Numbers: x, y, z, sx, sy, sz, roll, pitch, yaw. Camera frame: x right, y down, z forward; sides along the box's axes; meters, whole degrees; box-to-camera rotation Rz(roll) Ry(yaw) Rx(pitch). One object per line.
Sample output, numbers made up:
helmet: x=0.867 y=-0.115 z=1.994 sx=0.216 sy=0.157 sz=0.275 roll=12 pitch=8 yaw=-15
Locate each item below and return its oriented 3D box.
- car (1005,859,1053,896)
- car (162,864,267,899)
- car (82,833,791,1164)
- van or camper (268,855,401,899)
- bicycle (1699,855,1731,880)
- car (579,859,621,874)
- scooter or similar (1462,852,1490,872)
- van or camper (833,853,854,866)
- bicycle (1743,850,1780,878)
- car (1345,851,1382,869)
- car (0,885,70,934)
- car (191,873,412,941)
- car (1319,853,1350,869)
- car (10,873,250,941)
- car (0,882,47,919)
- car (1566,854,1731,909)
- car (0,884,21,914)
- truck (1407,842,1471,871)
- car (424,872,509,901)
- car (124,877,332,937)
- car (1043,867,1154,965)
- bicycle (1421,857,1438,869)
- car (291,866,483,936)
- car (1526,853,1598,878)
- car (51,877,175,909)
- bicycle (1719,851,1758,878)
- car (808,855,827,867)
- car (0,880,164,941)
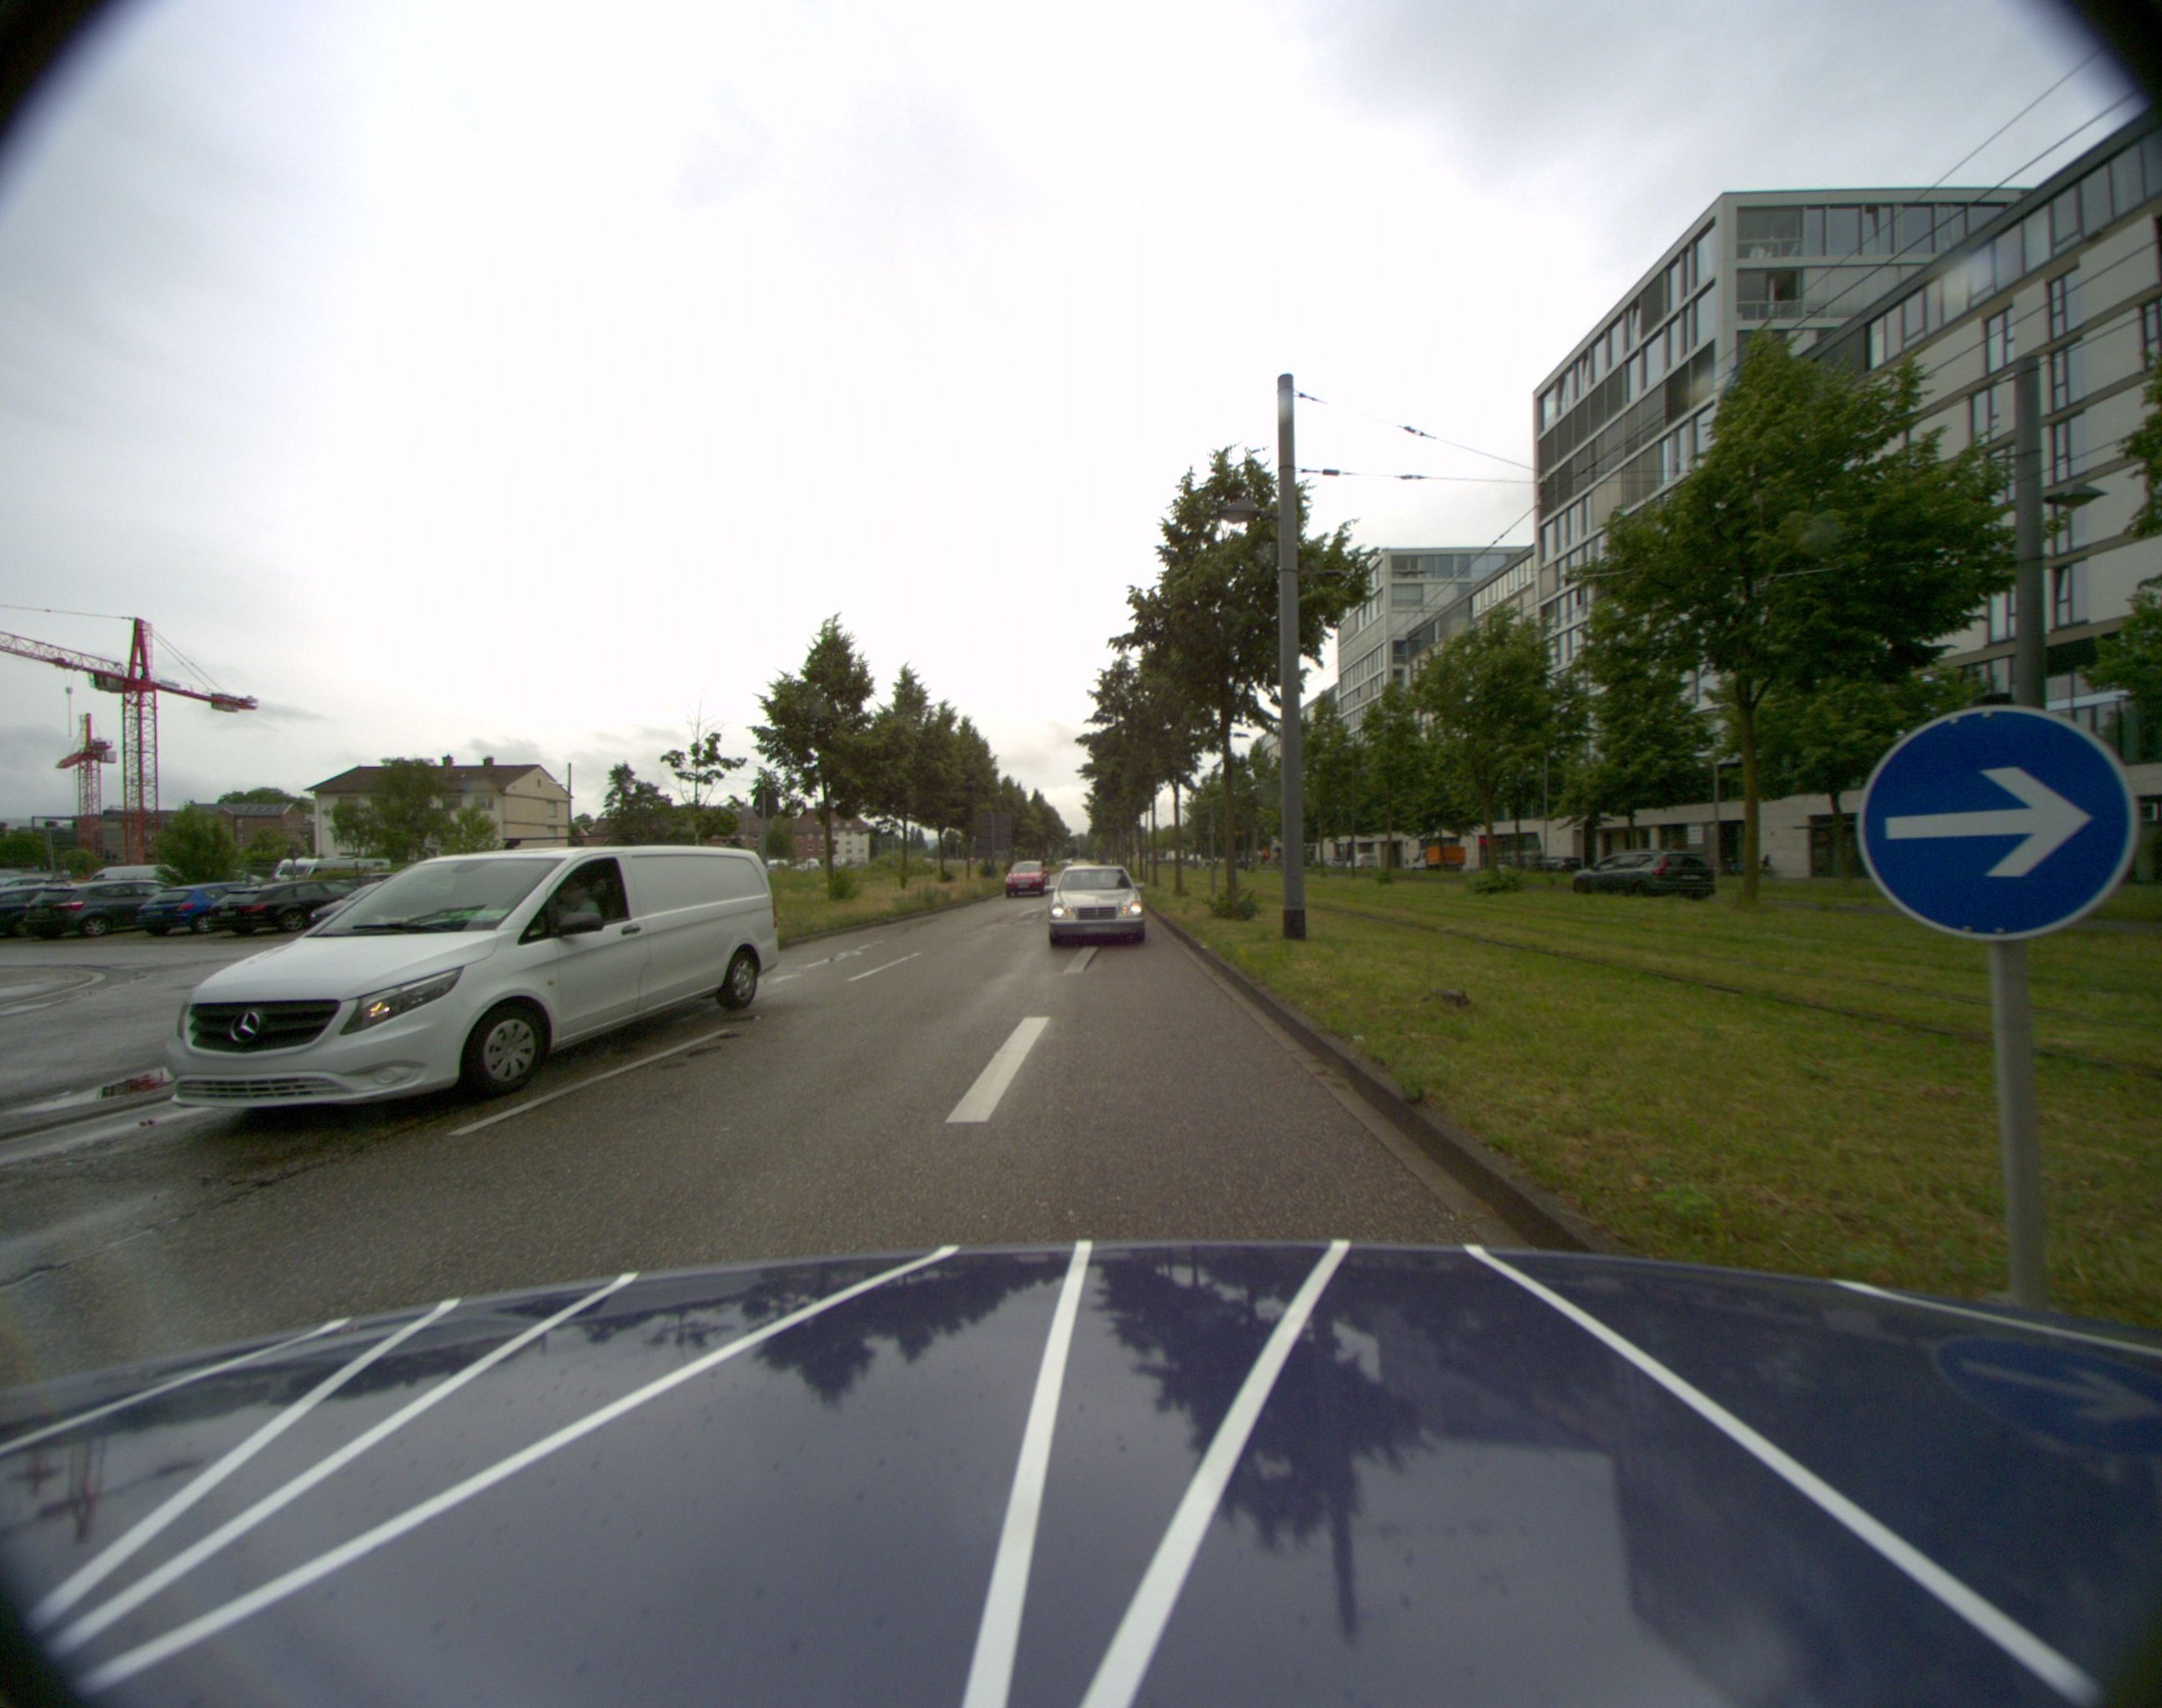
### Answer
car: x=-2.436 y=1.085 z=36.396 sx=1.799 sy=1.602 sz=4.246 roll=-2 pitch=0 yaw=2
car: x=-54.324 y=1.685 z=47.770 sx=1.700 sy=1.993 sz=4.165 roll=-1 pitch=0 yaw=2
car: x=-4.904 y=0.876 z=7.132 sx=1.971 sy=1.968 sz=5.093 roll=-1 pitch=0 yaw=5
van or camper: x=-54.475 y=1.584 z=55.724 sx=2.914 sy=2.976 sz=6.777 roll=-1 pitch=0 yaw=1
bicycle: x=38.691 y=0.812 z=46.381 sx=1.435 sy=1.474 sz=0.546 roll=-2 pitch=0 yaw=0
car: x=-61.265 y=1.582 z=96.935 sx=2.168 sy=1.883 sz=5.205 roll=-1 pitch=0 yaw=-3
scooter or similar: x=36.792 y=0.740 z=70.728 sx=2.130 sy=1.814 sz=0.885 roll=-2 pitch=0 yaw=-3
van or camper: x=-45.277 y=1.094 z=145.047 sx=2.208 sy=2.294 sz=6.147 roll=-3 pitch=0 yaw=-2
bicycle: x=38.819 y=0.578 z=43.352 sx=1.571 sy=1.529 sz=0.607 roll=-2 pitch=0 yaw=0
car: x=30.006 y=0.654 z=80.961 sx=1.998 sy=1.841 sz=5.164 roll=-1 pitch=0 yaw=0
car: x=-37.985 y=1.961 z=25.763 sx=1.859 sy=1.592 sz=4.002 roll=-1 pitch=0 yaw=6
car: x=-24.118 y=1.557 z=23.830 sx=1.859 sy=1.447 sz=4.555 roll=-1 pitch=4 yaw=6
car: x=29.859 y=0.804 z=89.647 sx=2.150 sy=1.702 sz=4.464 roll=-1 pitch=0 yaw=0
car: x=-30.309 y=1.626 z=24.486 sx=1.859 sy=1.593 sz=4.415 roll=-1 pitch=4 yaw=6
car: x=-47.899 y=2.147 z=32.466 sx=1.700 sy=1.438 sz=4.030 roll=-2 pitch=4 yaw=2
car: x=17.486 y=0.778 z=23.728 sx=1.867 sy=1.515 sz=4.479 roll=-1 pitch=0 yaw=1
car: x=-50.130 y=2.185 z=33.215 sx=1.700 sy=1.345 sz=4.031 roll=-1 pitch=4 yaw=4
truck: x=30.186 y=0.202 z=64.343 sx=2.432 sy=2.278 sz=6.309 roll=-1 pitch=0 yaw=1
car: x=-38.647 y=2.010 z=47.903 sx=1.859 sy=1.592 sz=4.002 roll=-1 pitch=0 yaw=6
car: x=-27.078 y=1.635 z=24.356 sx=1.859 sy=1.447 sz=4.000 roll=-1 pitch=3 yaw=6
car: x=0.281 y=1.032 z=14.442 sx=1.738 sy=1.451 sz=4.607 roll=-2 pitch=0 yaw=0
bicycle: x=27.801 y=0.678 z=60.639 sx=0.600 sy=0.939 sz=1.758 roll=-1 pitch=0 yaw=4
car: x=-21.314 y=1.369 z=23.588 sx=1.858 sy=1.573 sz=3.999 roll=-2 pitch=5 yaw=8
car: x=29.219 y=0.688 z=46.337 sx=1.859 sy=1.456 sz=3.988 roll=-1 pitch=0 yaw=0
car: x=-54.201 y=2.153 z=42.676 sx=1.700 sy=1.572 sz=4.032 roll=-1 pitch=0 yaw=1
bicycle: x=38.568 y=0.590 z=44.567 sx=1.707 sy=1.529 sz=0.681 roll=-2 pitch=0 yaw=0
car: x=-51.871 y=1.404 z=149.662 sx=2.278 sy=2.206 sz=4.758 roll=-2 pitch=0 yaw=-3
car: x=-32.971 y=1.782 z=24.329 sx=1.789 sy=1.467 sz=4.229 roll=-1 pitch=4 yaw=6
